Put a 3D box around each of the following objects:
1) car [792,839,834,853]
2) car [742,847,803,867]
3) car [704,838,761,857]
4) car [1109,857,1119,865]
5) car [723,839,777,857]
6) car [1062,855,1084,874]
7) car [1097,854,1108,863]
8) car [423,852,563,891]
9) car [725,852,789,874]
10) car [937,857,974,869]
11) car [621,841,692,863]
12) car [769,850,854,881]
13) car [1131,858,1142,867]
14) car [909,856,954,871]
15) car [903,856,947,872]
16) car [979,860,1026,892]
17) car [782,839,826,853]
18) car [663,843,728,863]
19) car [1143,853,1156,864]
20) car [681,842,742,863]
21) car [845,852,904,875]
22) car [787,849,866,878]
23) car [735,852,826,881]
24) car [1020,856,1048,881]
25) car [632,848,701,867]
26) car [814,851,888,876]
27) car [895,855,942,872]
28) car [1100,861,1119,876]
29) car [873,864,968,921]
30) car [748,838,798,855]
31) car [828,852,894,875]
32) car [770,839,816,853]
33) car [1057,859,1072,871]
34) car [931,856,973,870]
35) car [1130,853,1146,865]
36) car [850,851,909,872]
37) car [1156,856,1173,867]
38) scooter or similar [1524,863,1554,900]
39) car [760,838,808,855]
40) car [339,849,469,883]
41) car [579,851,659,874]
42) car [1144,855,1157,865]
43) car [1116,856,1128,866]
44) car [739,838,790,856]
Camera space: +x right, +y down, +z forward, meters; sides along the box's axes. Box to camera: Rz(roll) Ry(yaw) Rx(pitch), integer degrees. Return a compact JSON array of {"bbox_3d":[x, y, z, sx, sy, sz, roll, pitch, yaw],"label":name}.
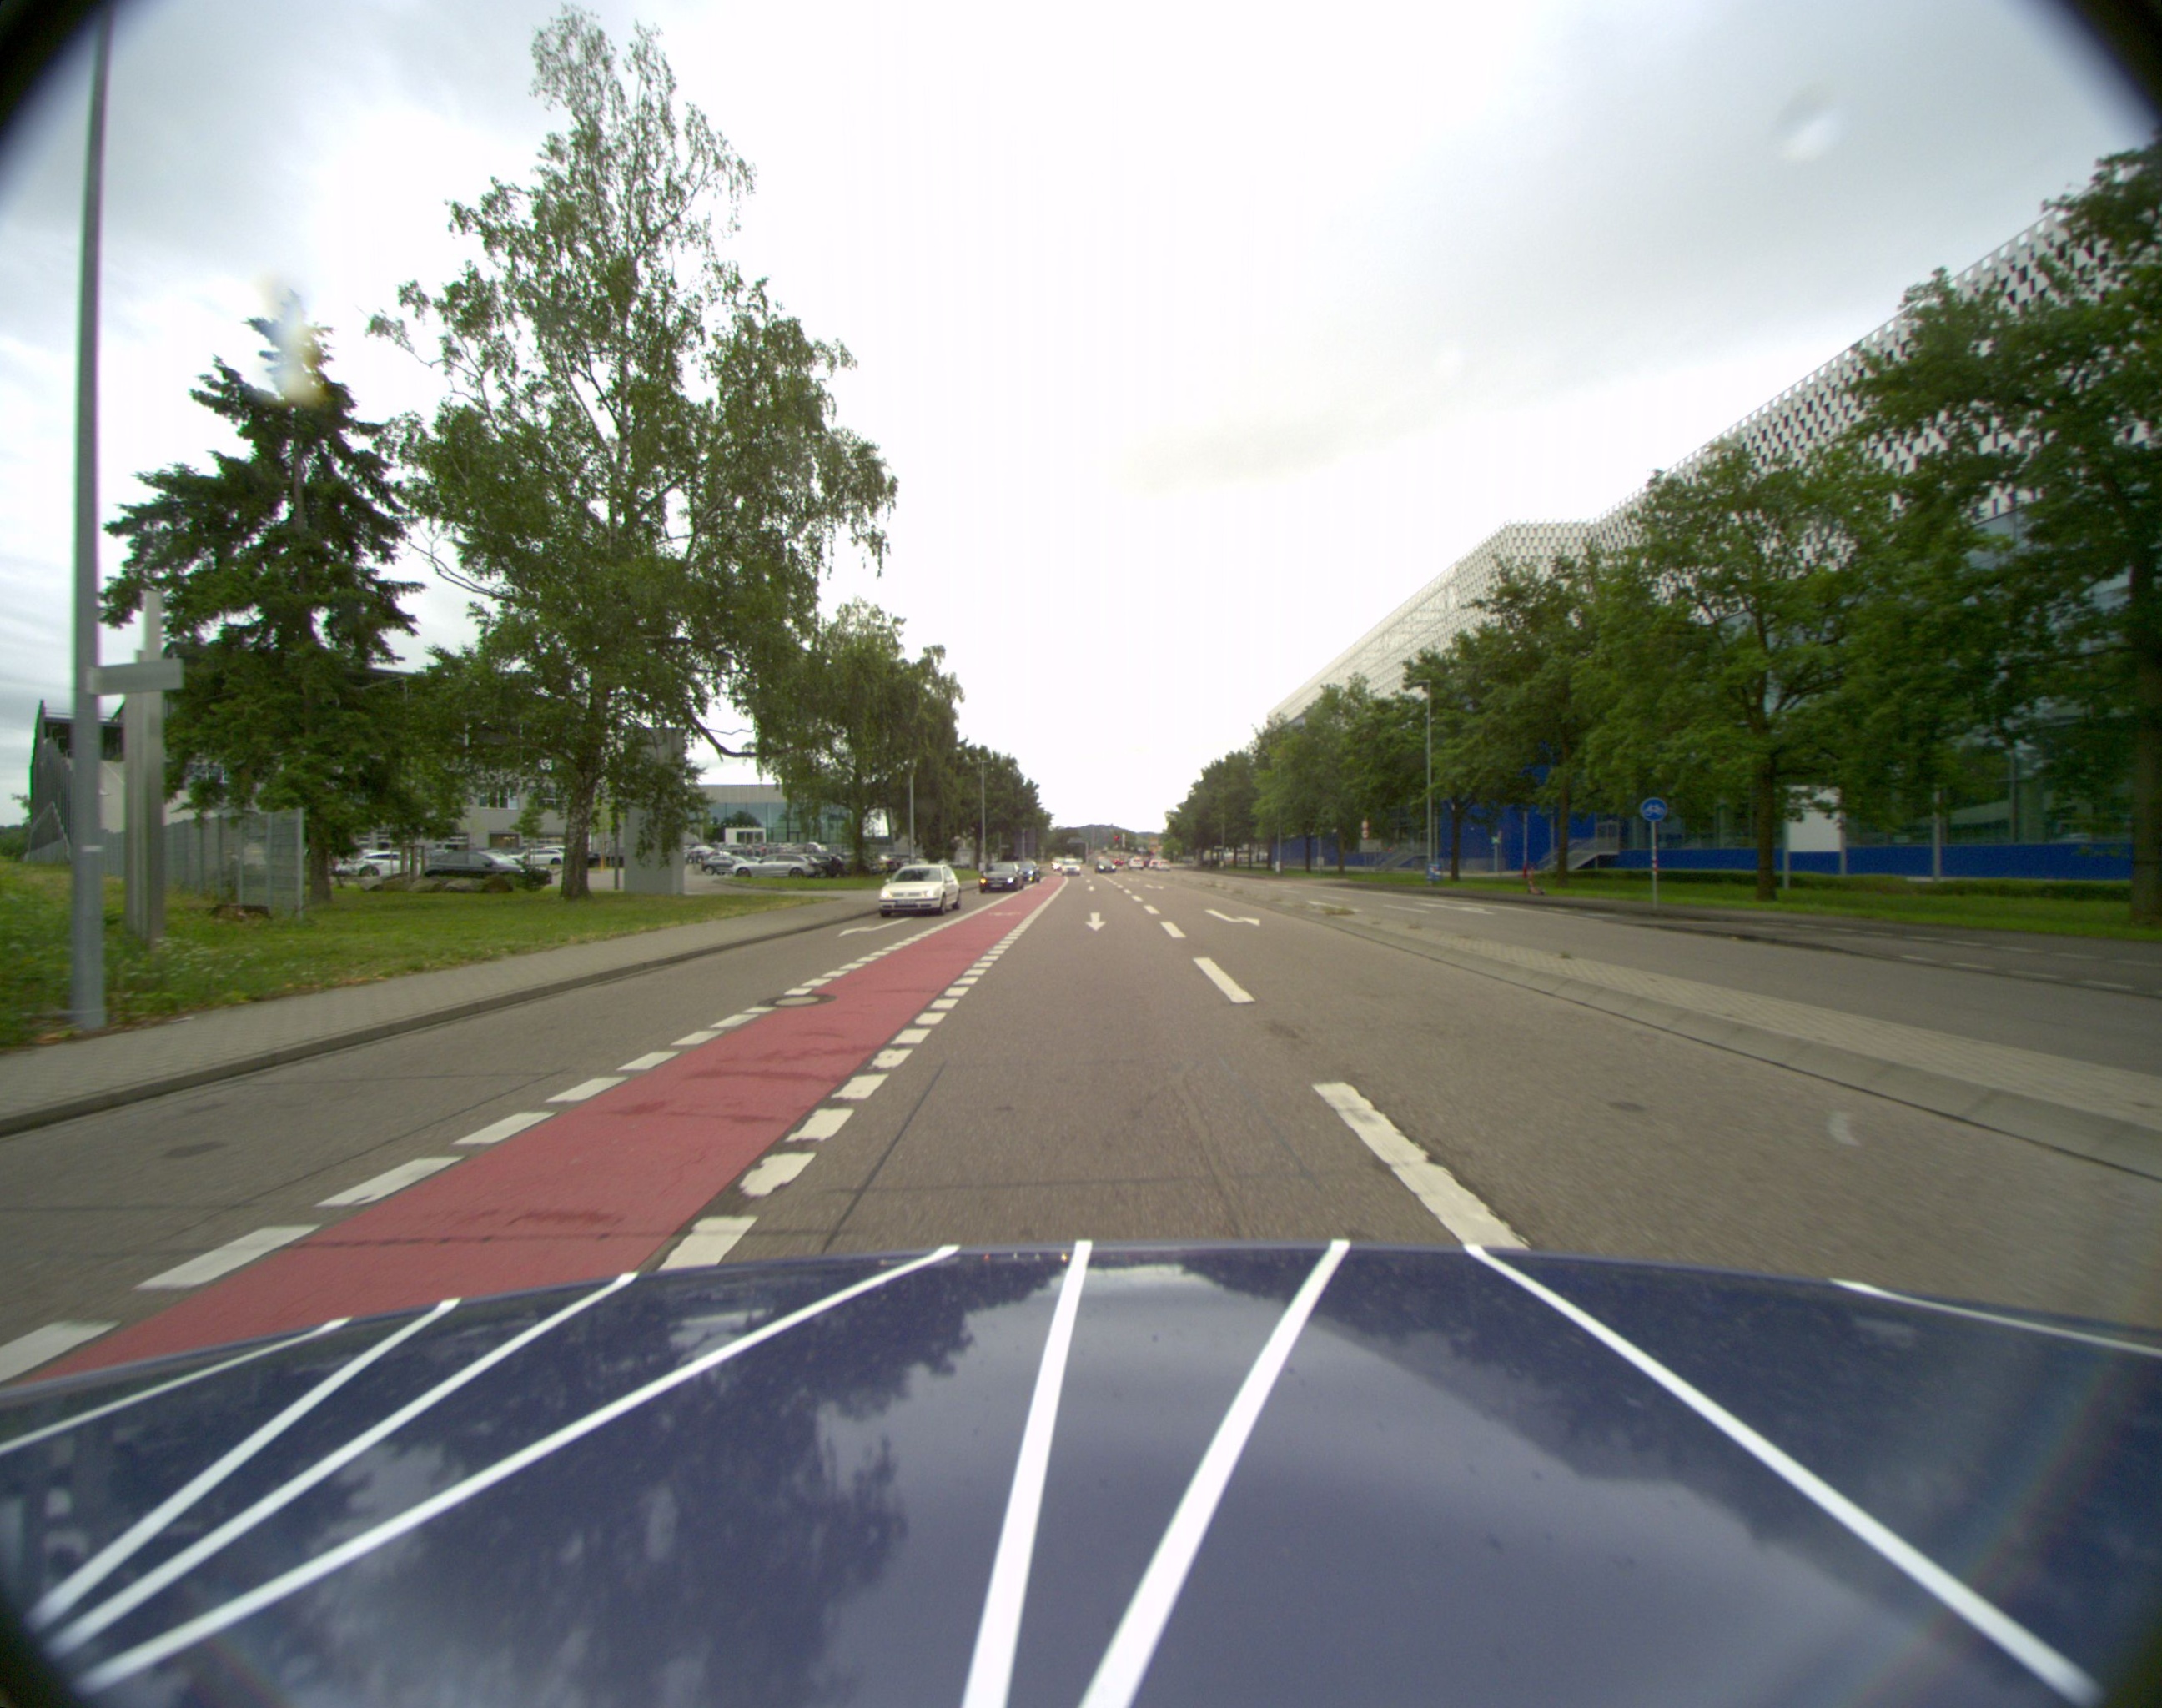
[{"bbox_3d":[-32.323,-0.966,91.751,4.309,1.355,1.832,-3,0,-1],"label":"car"},{"bbox_3d":[-26.013,0.260,64.191,4.308,1.497,1.902,-2,0,0],"label":"car"},{"bbox_3d":[-32.270,-0.606,70.363,4.309,1.518,1.859,-3,0,-1],"label":"car"},{"bbox_3d":[7.202,1.552,165.031,1.651,1.787,3.979,2,0,-6],"label":"car"},{"bbox_3d":[-31.996,-0.600,73.518,4.309,1.516,1.832,-3,0,-1],"label":"car"},{"bbox_3d":[-0.821,1.008,75.423,1.995,1.838,4.103,0,0,-2],"label":"car"},{"bbox_3d":[4.479,0.888,158.571,1.651,1.787,3.979,1,0,-6],"label":"car"},{"bbox_3d":[-24.801,0.739,32.188,4.310,1.580,1.968,0,1,-5],"label":"car"},{"bbox_3d":[-26.165,0.740,61.424,4.308,1.616,1.903,-1,-2,0],"label":"car"},{"bbox_3d":[-15.672,1.131,95.211,4.308,1.309,1.864,-3,0,0],"label":"car"},{"bbox_3d":[-32.137,-0.155,57.617,4.309,1.374,1.700,-3,0,-1],"label":"car"},{"bbox_3d":[-16.121,0.679,45.660,4.309,1.591,1.969,-3,0,-2],"label":"car"},{"bbox_3d":[11.854,1.826,163.807,1.651,1.787,3.979,2,0,-6],"label":"car"},{"bbox_3d":[-15.740,0.978,79.959,4.308,1.350,1.739,-3,0,0],"label":"car"},{"bbox_3d":[-15.962,0.978,77.688,4.056,1.369,1.795,-3,0,1],"label":"car"},{"bbox_3d":[-3.801,1.061,37.420,1.837,1.415,4.000,-2,0,0],"label":"car"},{"bbox_3d":[-32.412,-0.918,88.974,4.309,1.355,1.832,-3,0,-1],"label":"car"},{"bbox_3d":[-31.313,-0.039,61.781,4.309,1.364,1.832,-3,0,-1],"label":"car"},{"bbox_3d":[12.050,0.798,134.438,1.771,1.913,4.909,1,0,-1],"label":"car"},{"bbox_3d":[-31.888,-0.139,65.661,4.309,1.526,1.832,-3,0,-1],"label":"car"},{"bbox_3d":[-15.203,0.694,56.185,3.761,1.415,1.953,-3,0,-1],"label":"car"},{"bbox_3d":[-16.143,0.583,48.367,4.308,1.591,1.969,-3,0,2],"label":"car"},{"bbox_3d":[-16.405,0.657,41.653,4.310,1.480,1.739,-1,0,-5],"label":"car"},{"bbox_3d":[-3.268,0.952,52.023,1.788,1.637,3.998,0,0,-5],"label":"car"},{"bbox_3d":[-32.355,0.303,59.446,4.309,1.240,1.832,-3,0,-1],"label":"car"},{"bbox_3d":[-15.384,0.622,50.974,4.308,1.374,1.902,-3,0,2],"label":"car"},{"bbox_3d":[-16.070,0.907,75.266,4.198,1.423,1.739,-3,0,0],"label":"car"},{"bbox_3d":[2.975,1.538,80.848,1.837,1.415,4.000,-2,0,0],"label":"car"},{"bbox_3d":[-4.548,1.047,22.104,1.726,1.415,3.942,-2,0,2],"label":"car"},{"bbox_3d":[-31.752,-0.769,78.410,4.309,1.424,1.864,-3,0,-1],"label":"car"},{"bbox_3d":[-15.418,0.670,53.296,4.004,1.371,1.811,-3,0,3],"label":"car"},{"bbox_3d":[-31.697,-0.879,83.725,4.309,1.355,1.832,-3,0,-1],"label":"car"},{"bbox_3d":[-2.173,1.440,99.213,1.837,1.415,4.000,-2,0,0],"label":"car"},{"bbox_3d":[-15.766,1.142,92.833,4.763,1.416,1.902,-3,0,0],"label":"car"},{"bbox_3d":[7.942,0.700,105.915,1.822,1.577,4.513,2,0,0],"label":"car"},{"bbox_3d":[-15.582,0.590,58.979,4.002,1.345,1.902,-3,0,2],"label":"car"},{"bbox_3d":[11.263,1.015,102.905,1.681,1.420,3.650,1,0,-3],"label":"car"},{"bbox_3d":[16.849,0.984,27.977,0.448,1.314,1.506,0,0,10],"label":"scooter or similar"},{"bbox_3d":[-31.668,-0.802,81.084,4.308,1.582,1.896,-3,0,2],"label":"car"},{"bbox_3d":[-35.415,0.585,39.866,1.900,1.557,4.684,-3,0,33],"label":"car"},{"bbox_3d":[-31.981,0.588,52.679,4.309,1.365,1.832,-3,0,-1],"label":"car"},{"bbox_3d":[10.465,0.932,114.448,1.628,1.414,3.611,1,0,0],"label":"car"},{"bbox_3d":[8.488,1.369,156.545,1.651,1.788,3.978,-7,2,-6],"label":"car"},{"bbox_3d":[-31.618,-0.712,75.966,4.309,1.503,1.832,-3,0,-1],"label":"car"}]
